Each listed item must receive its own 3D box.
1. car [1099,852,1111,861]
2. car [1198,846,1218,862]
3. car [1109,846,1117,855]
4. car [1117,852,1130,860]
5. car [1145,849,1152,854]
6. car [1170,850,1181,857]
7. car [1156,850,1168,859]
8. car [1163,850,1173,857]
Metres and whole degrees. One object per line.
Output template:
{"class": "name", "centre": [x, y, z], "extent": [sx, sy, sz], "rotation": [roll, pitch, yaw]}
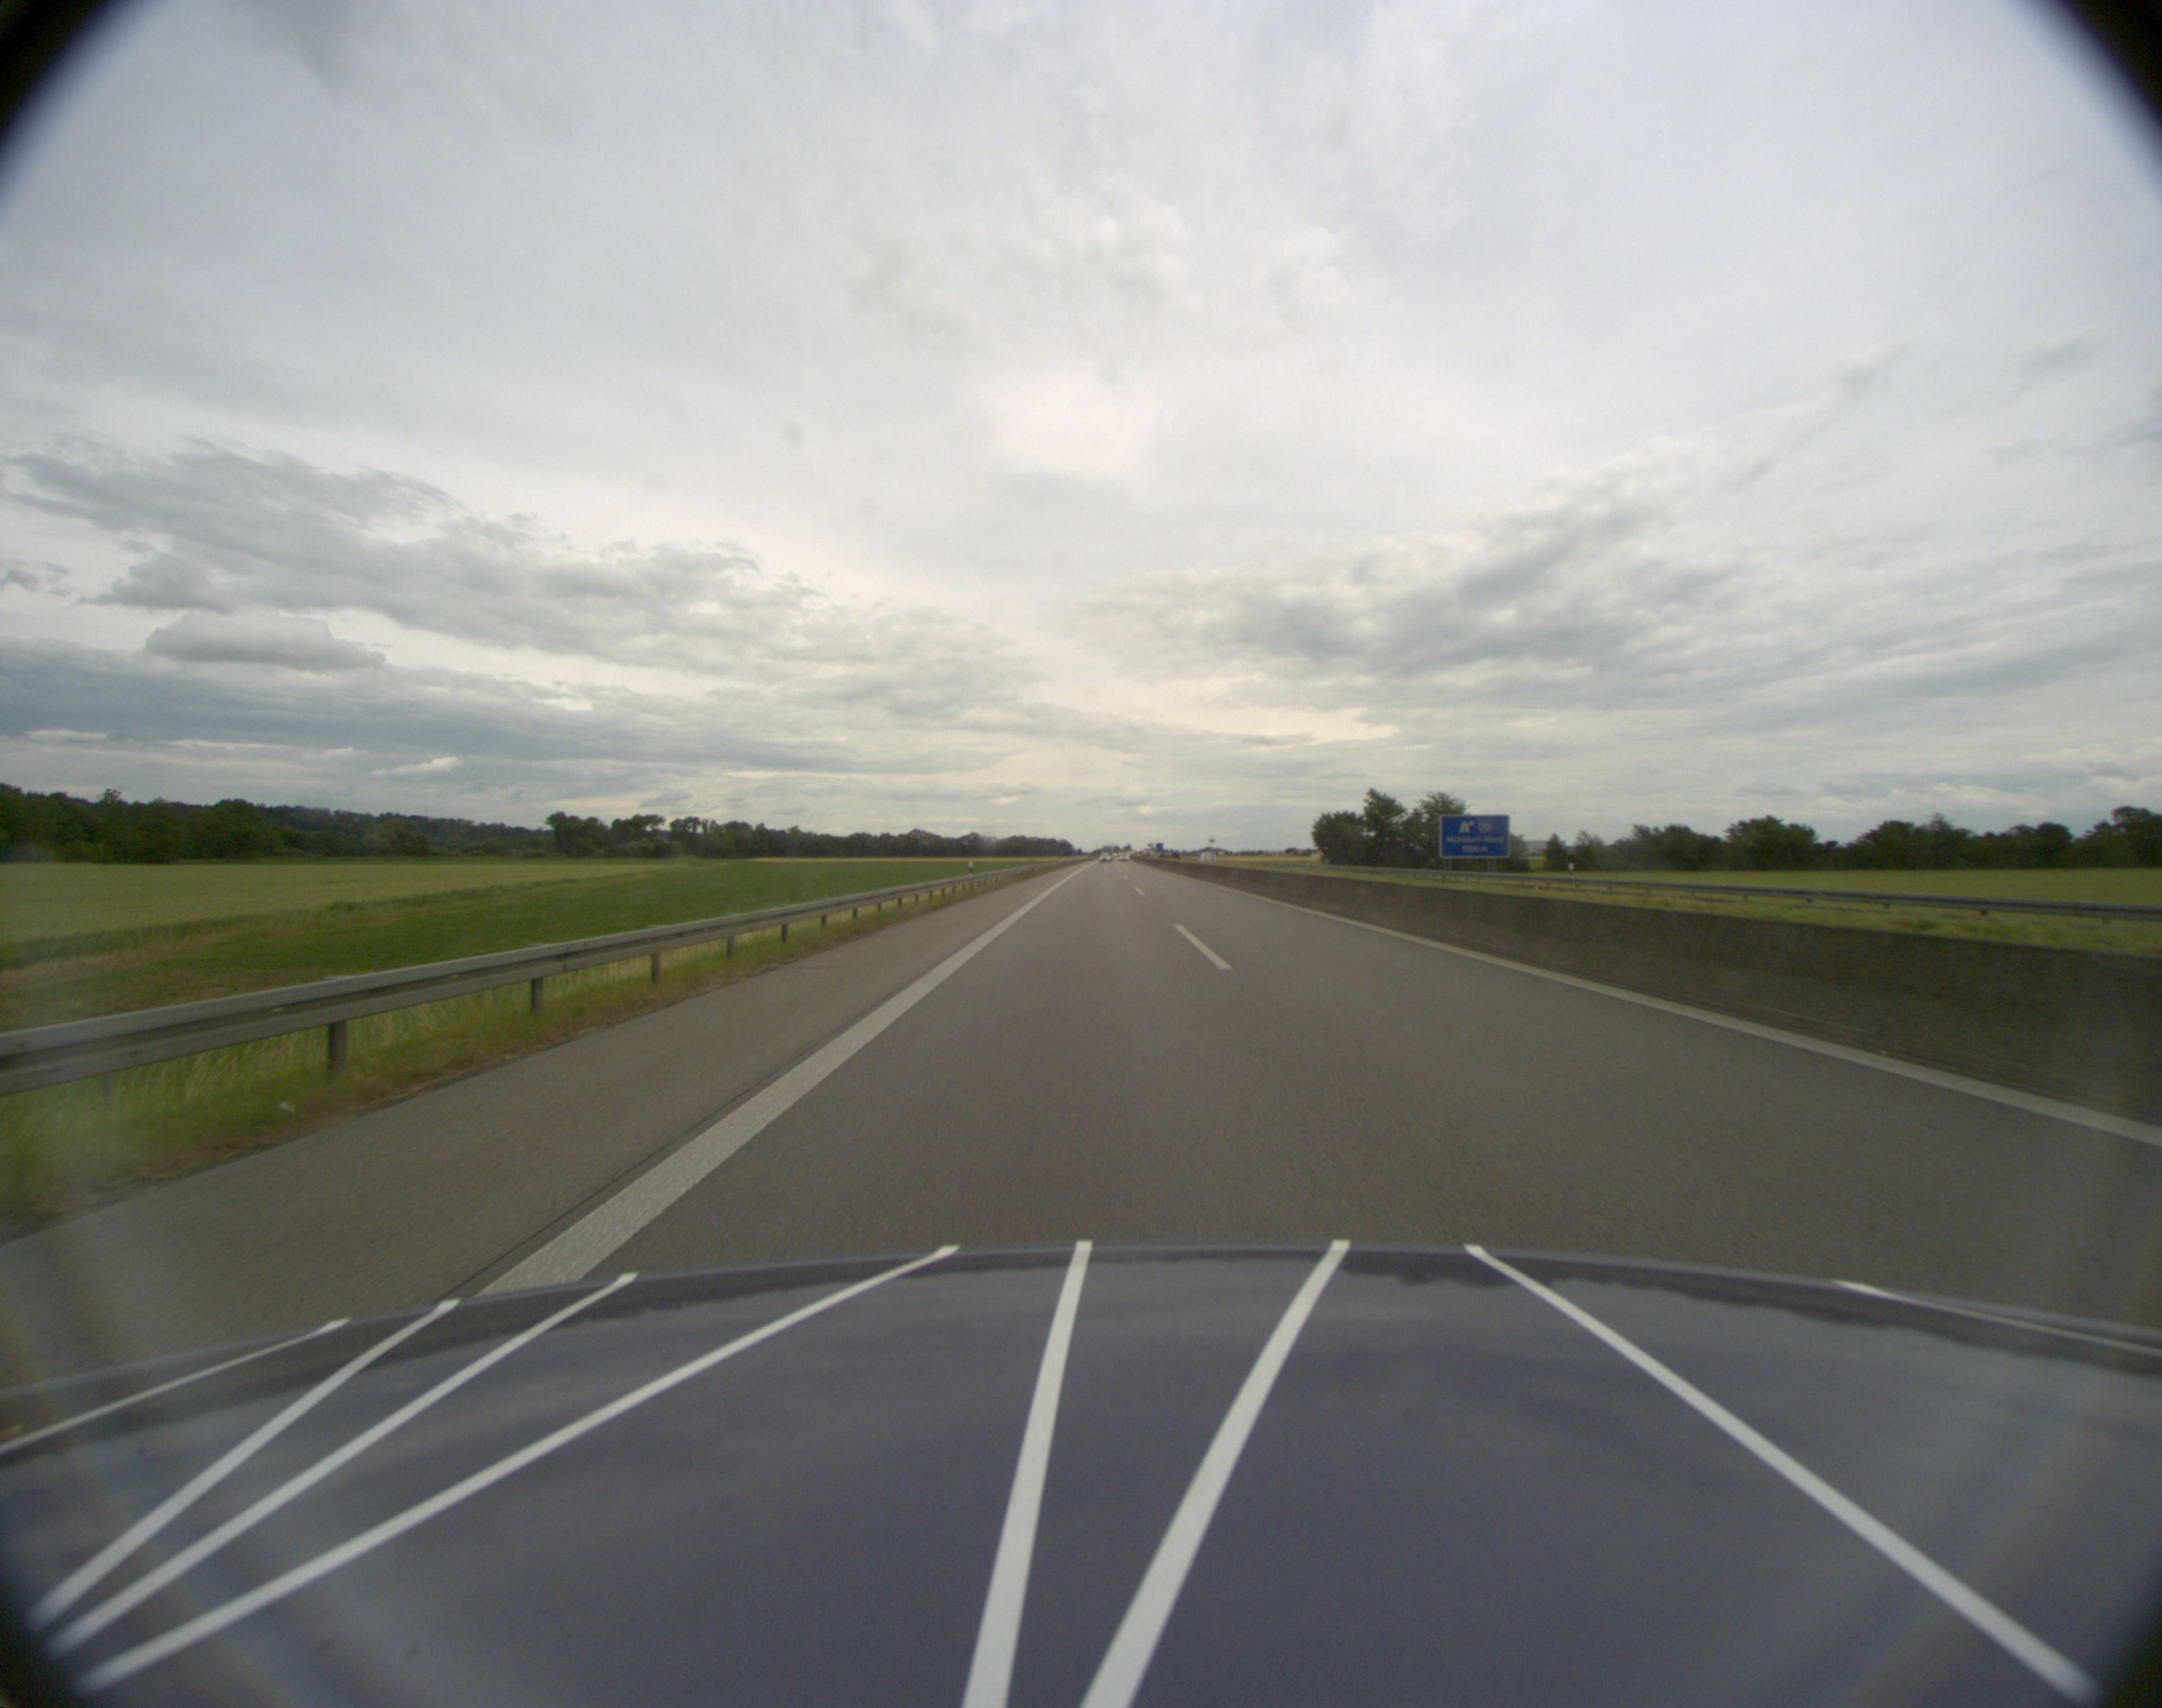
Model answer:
{"class": "car", "centre": [4.353, 0.518, 138.253], "extent": [1.916, 1.553, 4.287], "rotation": [-1, 1, -1]}
{"class": "car", "centre": [17.346, -0.044, 103.958], "extent": [2.035, 2.097, 4.905], "rotation": [-1, 1, 3]}
{"class": "car", "centre": [7.818, -0.913, 187.325], "extent": [1.916, 2.248, 5.313], "rotation": [-1, 1, 2]}
{"class": "car", "centre": [8.547, 0.411, 153.642], "extent": [1.917, 1.553, 4.285], "rotation": [-1, 1, -6]}
{"class": "car", "centre": [20.283, -0.743, 229.844], "extent": [1.693, 1.483, 4.183], "rotation": [-1, 0, 0]}
{"class": "car", "centre": [19.172, -0.159, 154.184], "extent": [1.693, 1.483, 4.183], "rotation": [-1, 0, 0]}
{"class": "car", "centre": [14.558, 0.091, 137.000], "extent": [1.693, 1.483, 4.183], "rotation": [-1, 0, 0]}
{"class": "car", "centre": [20.234, -0.145, 176.362], "extent": [1.693, 1.483, 4.183], "rotation": [-1, 0, 0]}
